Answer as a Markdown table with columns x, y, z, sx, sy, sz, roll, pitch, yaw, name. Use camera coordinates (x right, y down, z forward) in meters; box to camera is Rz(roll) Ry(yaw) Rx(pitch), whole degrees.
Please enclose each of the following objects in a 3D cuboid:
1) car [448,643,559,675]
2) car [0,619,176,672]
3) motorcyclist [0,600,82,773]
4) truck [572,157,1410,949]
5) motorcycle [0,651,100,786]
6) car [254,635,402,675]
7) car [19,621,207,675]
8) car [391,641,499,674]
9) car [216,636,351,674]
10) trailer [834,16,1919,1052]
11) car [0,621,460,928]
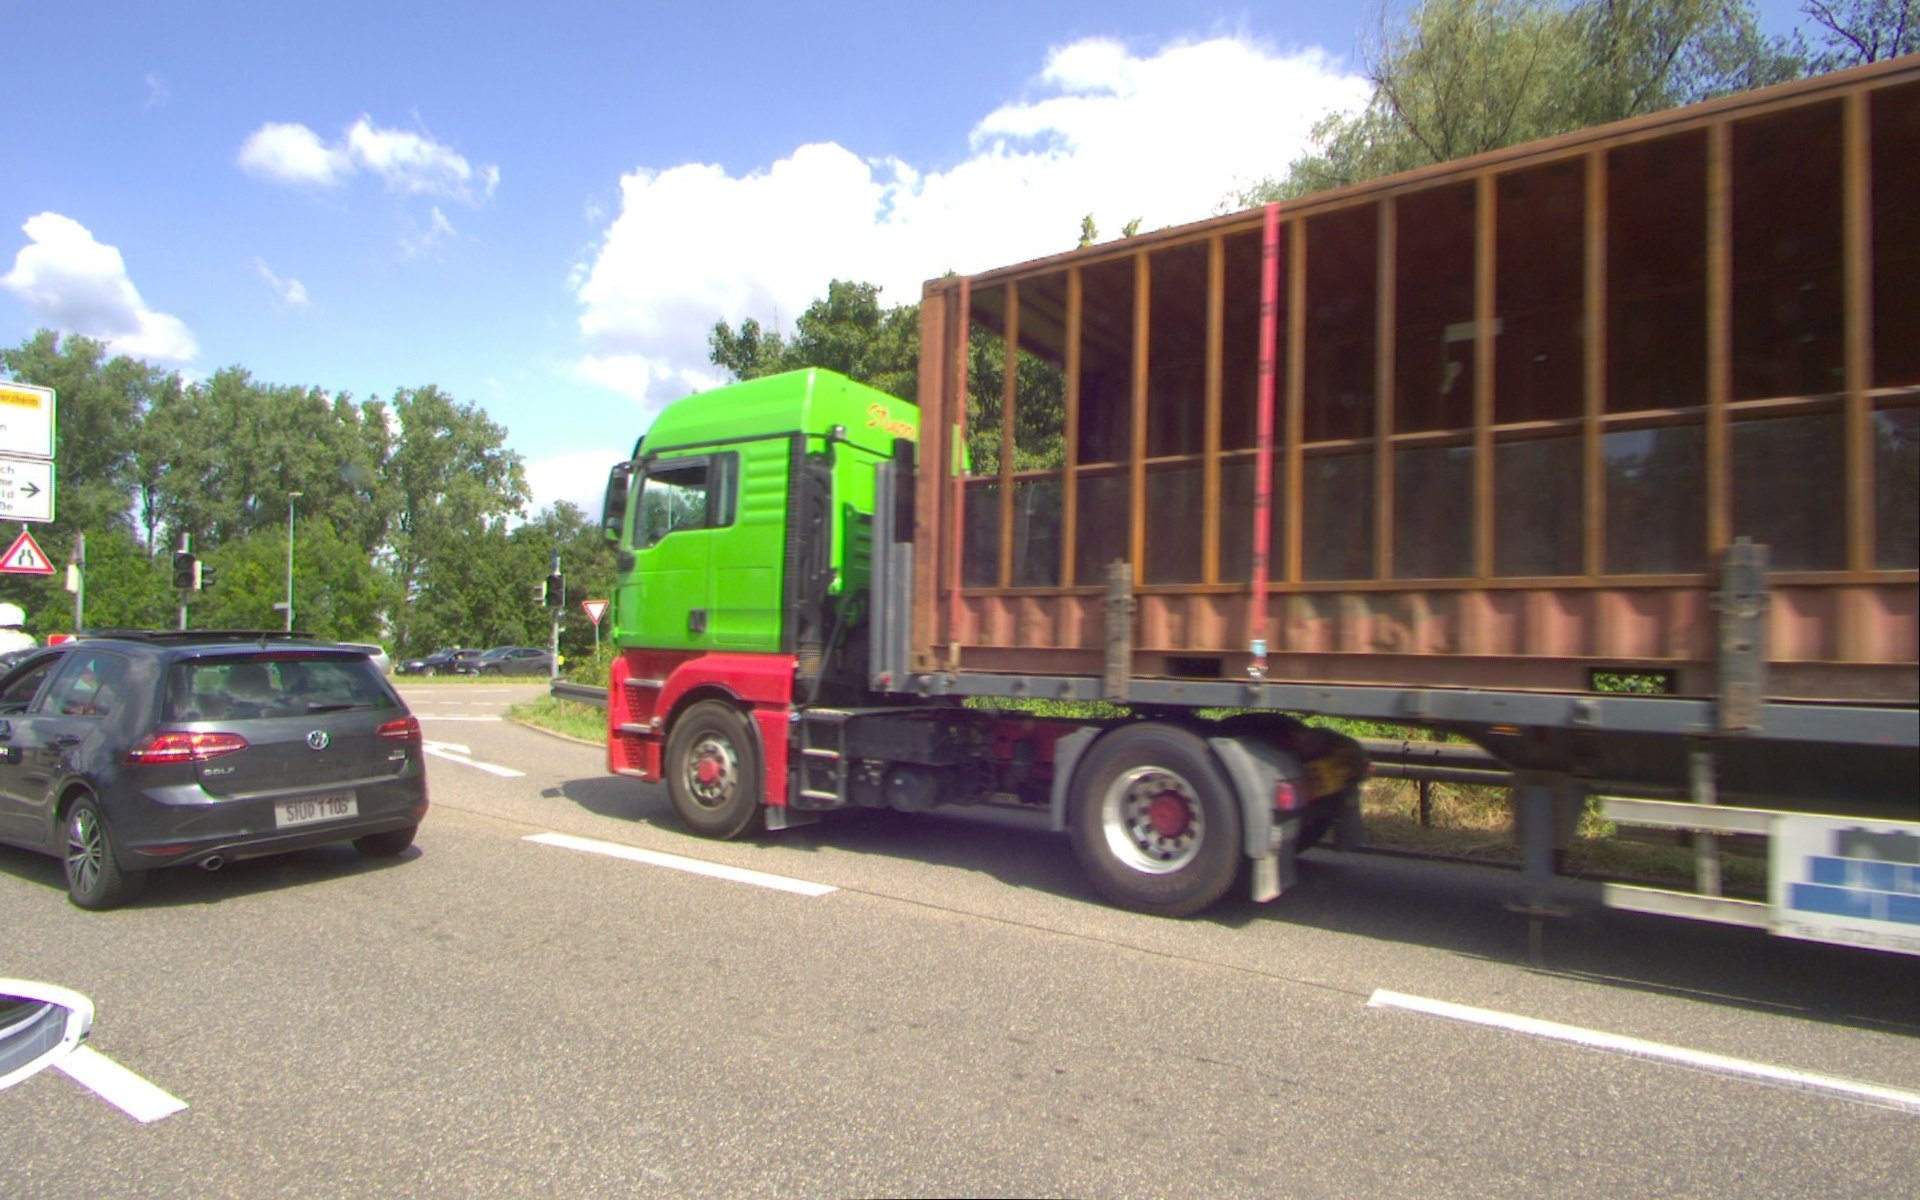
| x | y | z | sx | sy | sz | roll | pitch | yaw | name |
| --- | --- | --- | --- | --- | --- | --- | --- | --- | --- |
| -20.495 | 2.682 | 45.139 | 1.621 | 1.306 | 4.397 | 1 | -3 | 30 | car |
| -30.078 | 1.600 | 34.649 | 1.810 | 1.666 | 4.201 | 1 | -3 | 30 | car |
| -9.526 | 0.831 | 9.903 | 1.109 | 1.641 | 0.964 | 0 | -2 | 32 | motorcyclist |
| 0.114 | -0.122 | 7.788 | 5.796 | 3.950 | 2.865 | -1 | -4 | 34 | truck |
| -9.342 | 1.093 | 9.754 | 2.365 | 1.146 | 0.788 | 0 | -2 | 32 | motorcycle |
| -24.107 | 2.150 | 38.390 | 1.621 | 1.392 | 4.527 | 1 | -3 | 30 | car |
| -27.499 | 1.620 | 32.667 | 1.817 | 1.636 | 4.280 | -1 | -4 | 30 | car |
| -23.916 | 2.686 | 46.643 | 1.675 | 1.392 | 4.201 | 1 | -3 | 30 | car |
| -27.217 | 2.231 | 40.422 | 1.621 | 1.392 | 4.201 | 1 | -3 | 30 | car |
| 5.557 | -0.209 | 4.048 | 13.659 | 3.938 | 2.635 | -1 | -4 | 35 | trailer |
| -5.220 | 0.904 | 6.601 | 3.815 | 1.497 | 1.640 | -1 | -2 | 31 | car |
